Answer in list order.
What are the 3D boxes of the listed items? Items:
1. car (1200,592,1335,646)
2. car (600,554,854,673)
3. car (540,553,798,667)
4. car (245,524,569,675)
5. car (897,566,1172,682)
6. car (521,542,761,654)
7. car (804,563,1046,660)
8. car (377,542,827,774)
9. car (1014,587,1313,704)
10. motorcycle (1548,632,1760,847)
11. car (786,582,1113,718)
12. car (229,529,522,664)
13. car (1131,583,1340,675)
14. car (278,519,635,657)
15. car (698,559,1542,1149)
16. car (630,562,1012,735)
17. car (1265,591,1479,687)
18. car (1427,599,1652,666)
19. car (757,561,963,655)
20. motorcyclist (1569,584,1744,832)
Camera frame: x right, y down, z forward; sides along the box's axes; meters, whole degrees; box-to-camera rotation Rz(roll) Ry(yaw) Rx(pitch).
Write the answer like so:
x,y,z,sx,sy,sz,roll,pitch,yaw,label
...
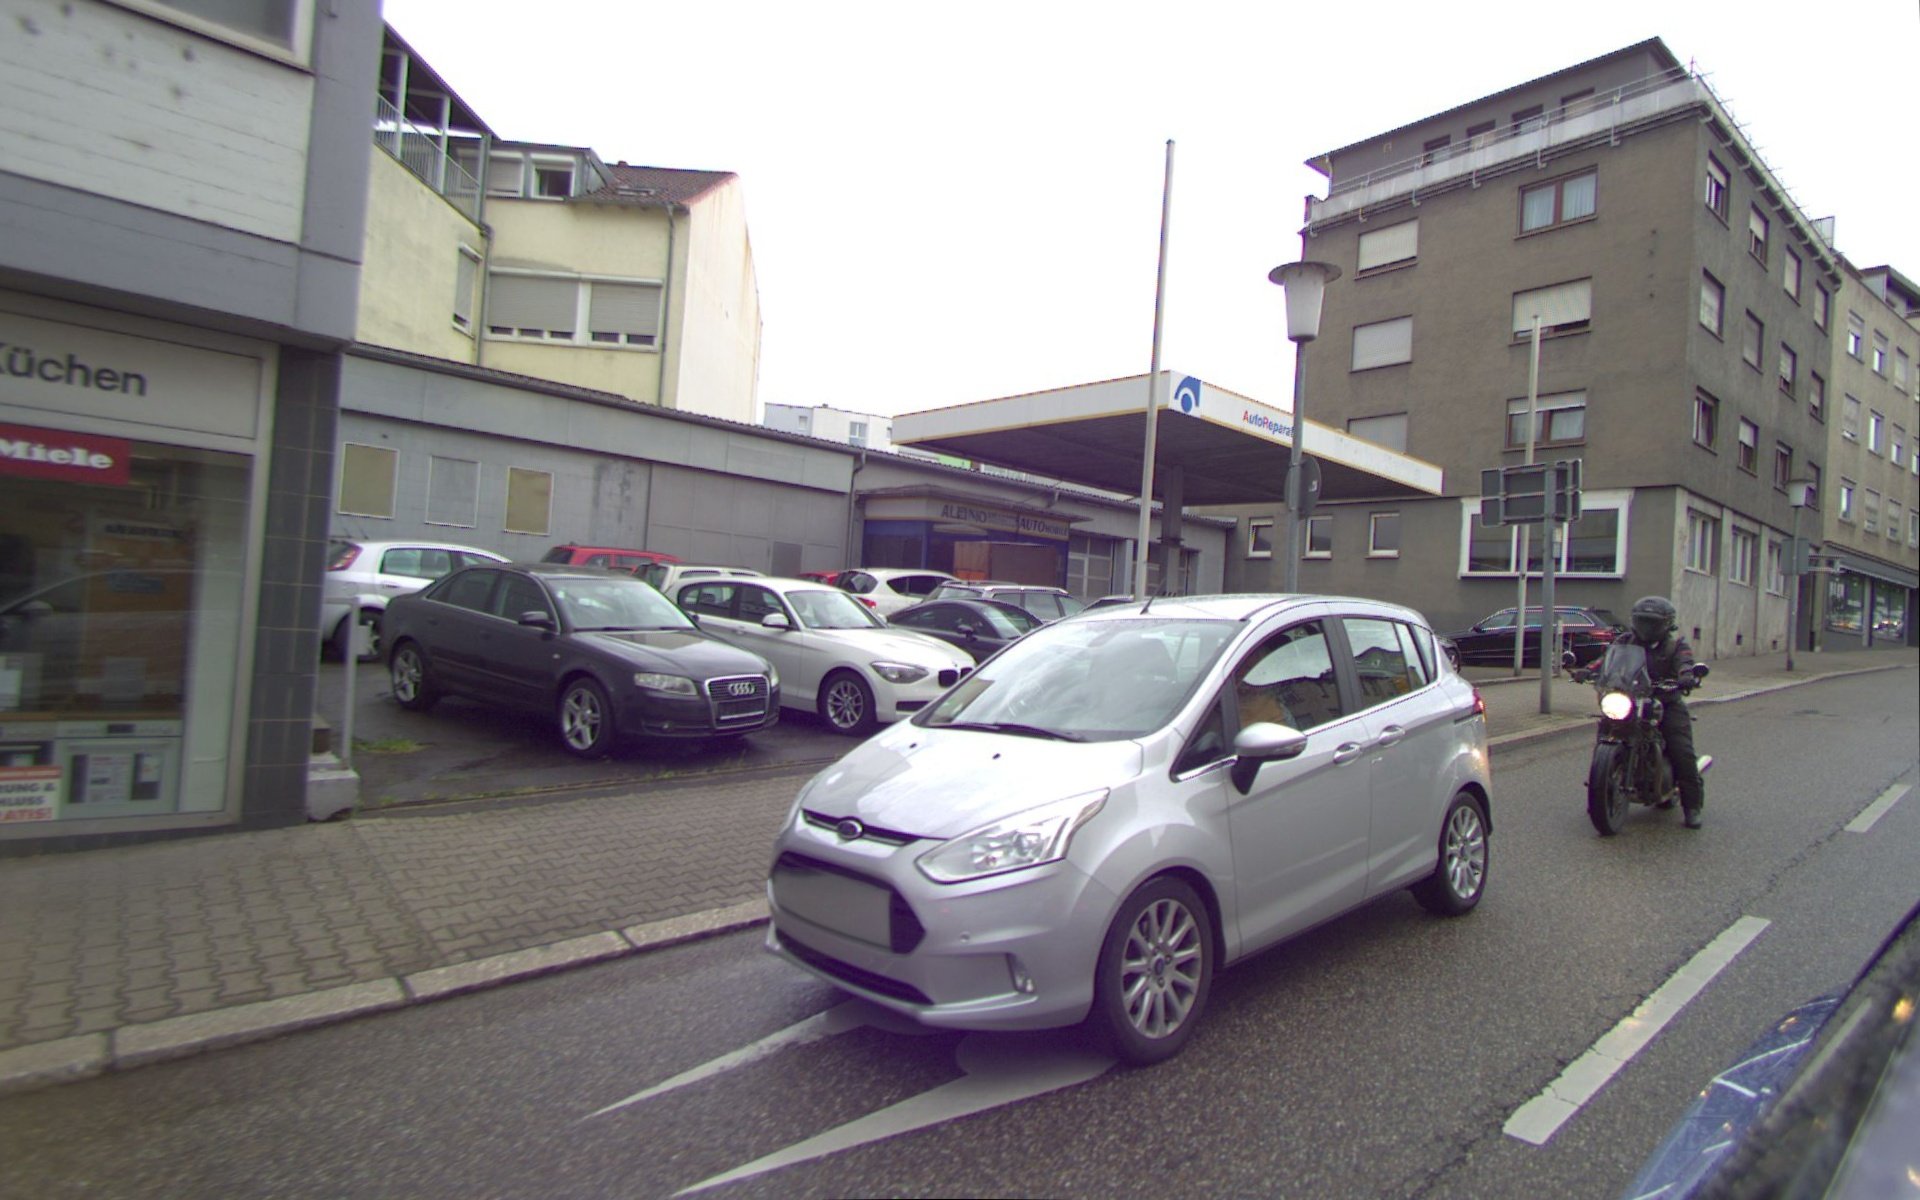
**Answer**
x,y,z,sx,sy,sz,roll,pitch,yaw,label
9.803,0.593,32.460,1.761,1.472,3.753,3,0,-38,car
-3.649,0.167,16.034,3.456,1.619,1.793,1,3,-40,car
-4.944,0.146,17.453,3.878,1.752,1.792,1,1,-40,car
-8.008,-0.015,14.809,3.878,1.922,1.792,1,1,-40,car
1.323,0.396,16.599,4.411,1.563,1.793,3,3,-40,car
-6.091,-0.042,19.550,4.032,1.934,1.792,1,1,-40,car
-0.565,0.178,18.954,4.340,1.620,1.792,1,1,-40,car
-3.335,0.361,9.193,3.974,1.468,1.777,6,3,33,car
3.107,0.587,14.943,4.530,1.433,1.793,1,2,-38,car
5.003,0.872,7.213,0.844,1.241,2.335,-2,-2,44,motorcycle
-0.214,0.528,12.921,3.976,1.418,1.650,2,1,36,car
-9.425,-0.056,16.464,3.878,1.934,1.792,1,1,-40,car
5.608,0.583,20.333,4.339,1.530,1.793,3,3,-40,car
-6.507,-0.172,13.267,3.878,1.541,1.793,1,3,-40,car
1.083,0.710,4.825,4.182,1.561,1.827,1,-2,-44,car
-1.587,0.394,11.010,3.973,1.549,1.742,2,1,34,car
7.624,0.638,18.533,4.358,1.531,1.792,1,1,-40,car
14.506,0.770,25.558,1.962,1.523,4.534,1,-1,-36,car
-1.999,0.137,20.770,3.878,1.752,1.792,1,1,-40,car
4.966,0.711,7.210,0.845,1.610,0.947,-2,-2,44,motorcyclist
